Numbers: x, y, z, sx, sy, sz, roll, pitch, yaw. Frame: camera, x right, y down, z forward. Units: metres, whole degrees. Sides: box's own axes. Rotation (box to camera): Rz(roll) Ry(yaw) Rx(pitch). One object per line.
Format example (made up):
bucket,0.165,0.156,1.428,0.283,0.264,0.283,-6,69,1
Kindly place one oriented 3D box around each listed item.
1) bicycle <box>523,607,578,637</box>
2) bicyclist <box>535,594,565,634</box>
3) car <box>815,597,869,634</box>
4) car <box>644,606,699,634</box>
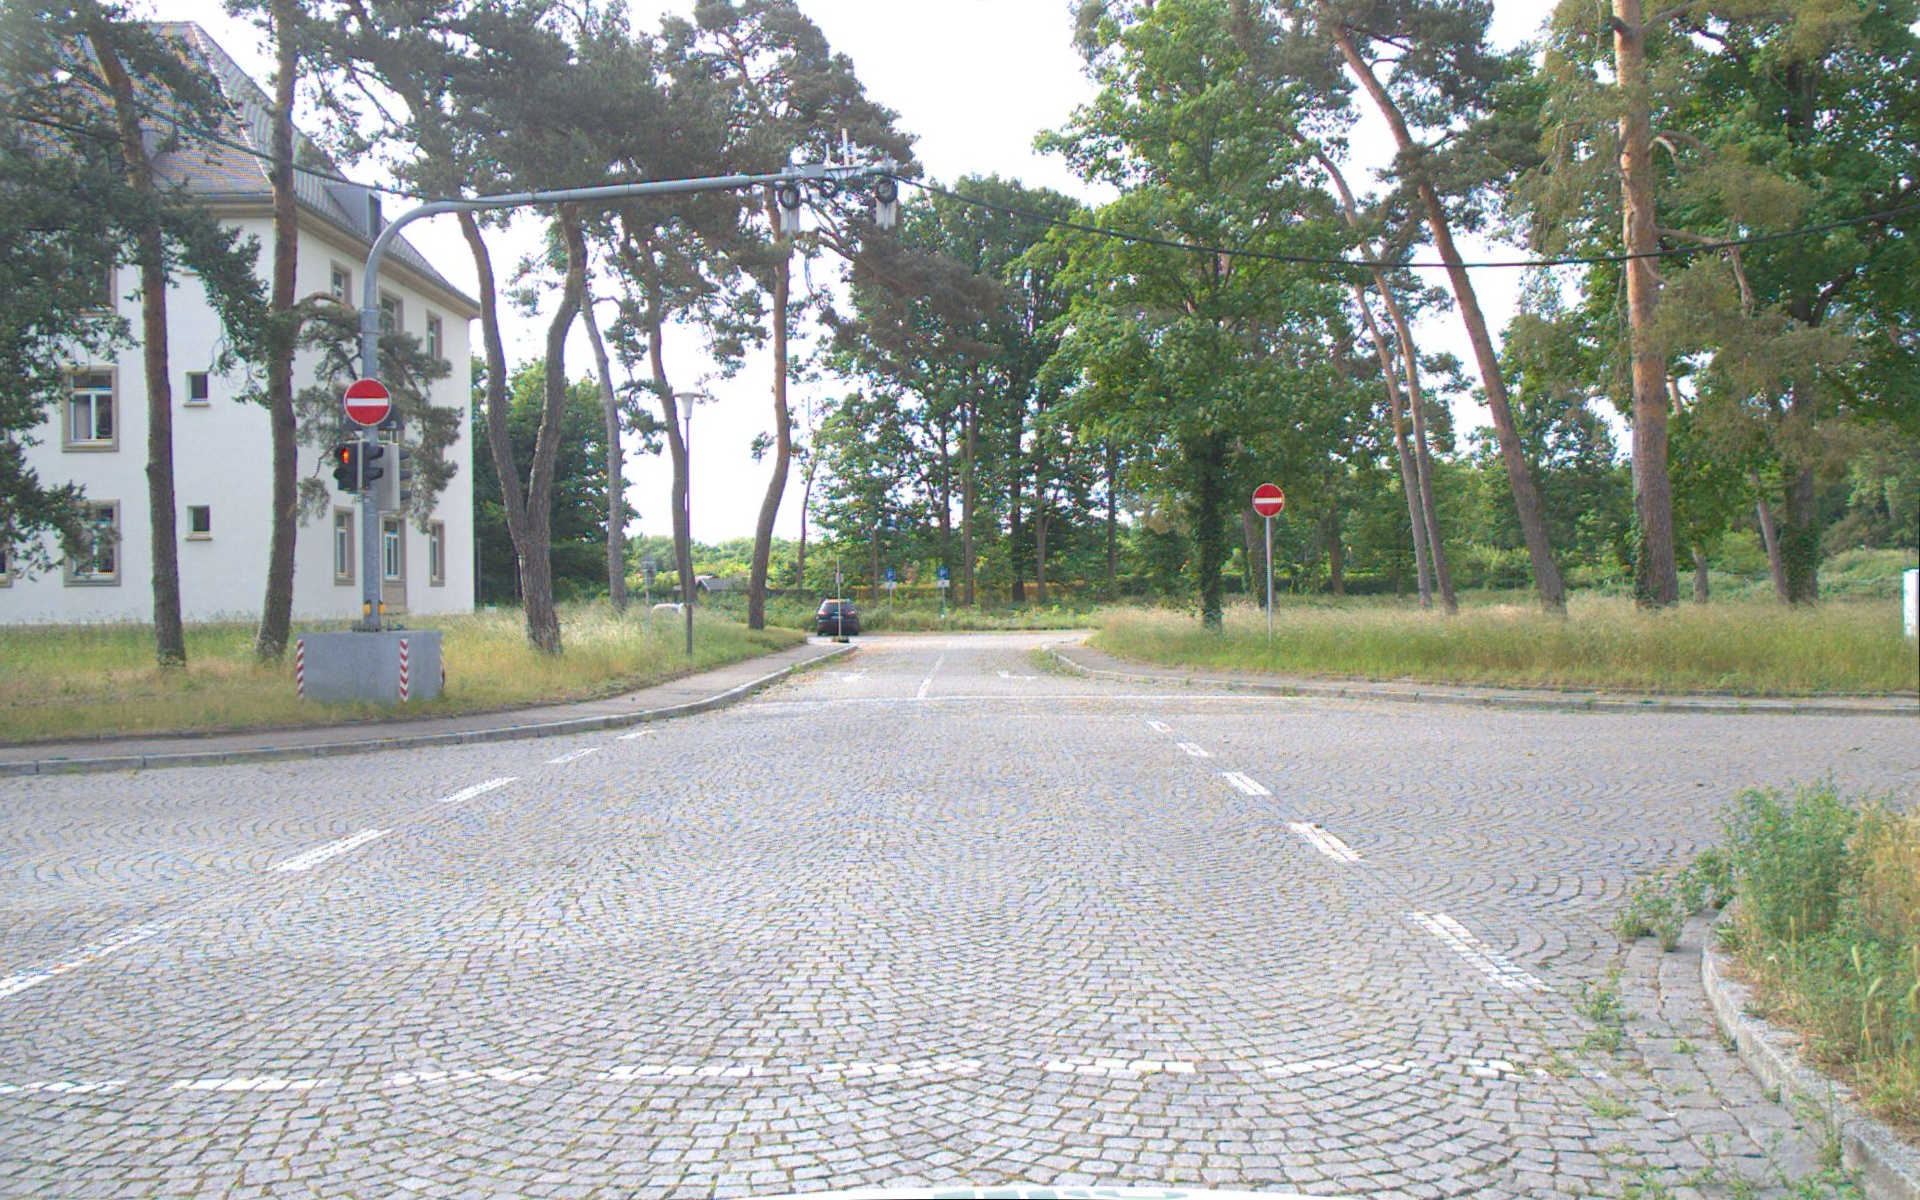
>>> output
bicycle,-16.024,0.869,64.717,1.947,1.114,0.810,-1,0,-4
bicyclist,-16.052,0.532,64.723,0.955,1.537,0.807,-1,0,-3
car,-5.123,0.635,72.142,1.952,1.534,4.001,1,0,1
car,-12.744,0.872,73.244,1.654,1.176,4.001,-1,0,1
